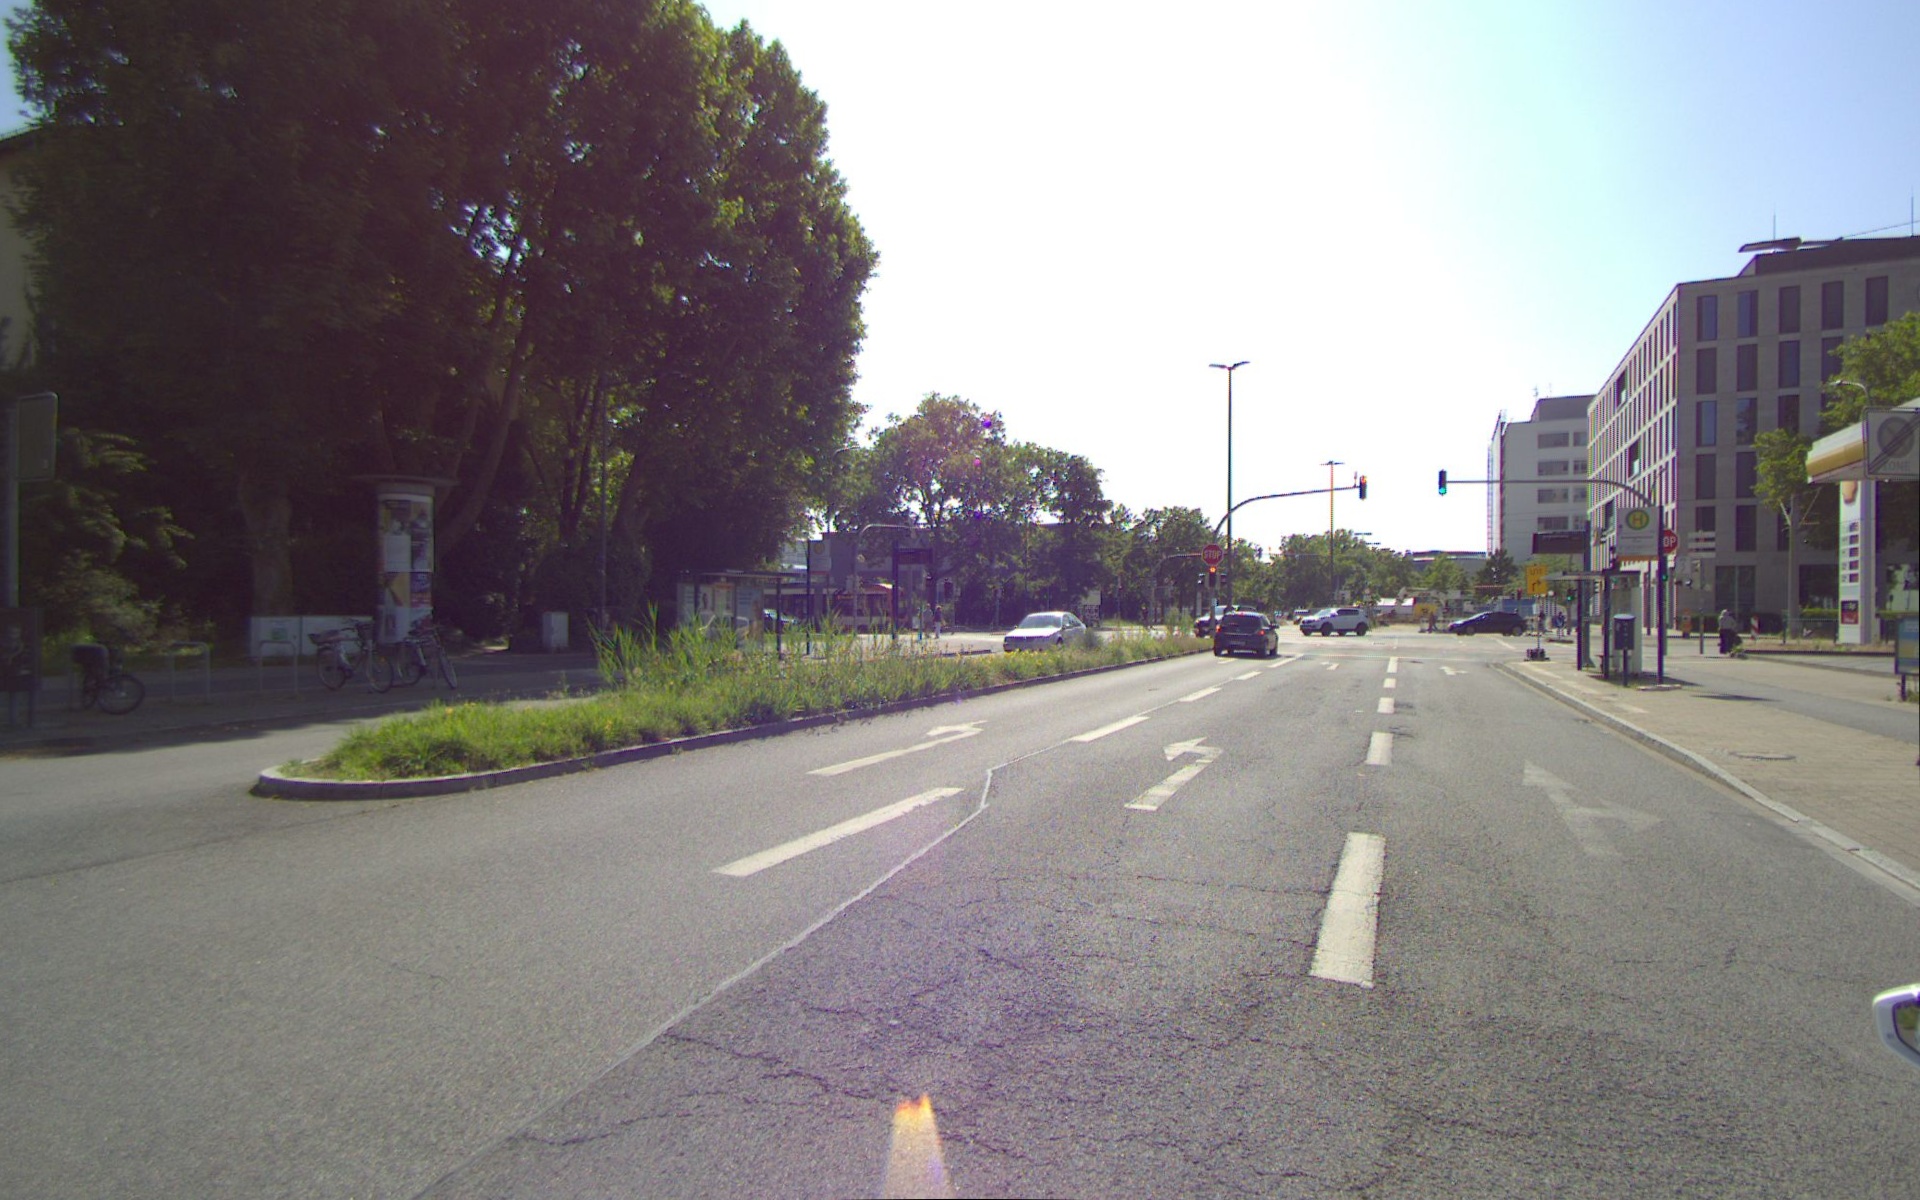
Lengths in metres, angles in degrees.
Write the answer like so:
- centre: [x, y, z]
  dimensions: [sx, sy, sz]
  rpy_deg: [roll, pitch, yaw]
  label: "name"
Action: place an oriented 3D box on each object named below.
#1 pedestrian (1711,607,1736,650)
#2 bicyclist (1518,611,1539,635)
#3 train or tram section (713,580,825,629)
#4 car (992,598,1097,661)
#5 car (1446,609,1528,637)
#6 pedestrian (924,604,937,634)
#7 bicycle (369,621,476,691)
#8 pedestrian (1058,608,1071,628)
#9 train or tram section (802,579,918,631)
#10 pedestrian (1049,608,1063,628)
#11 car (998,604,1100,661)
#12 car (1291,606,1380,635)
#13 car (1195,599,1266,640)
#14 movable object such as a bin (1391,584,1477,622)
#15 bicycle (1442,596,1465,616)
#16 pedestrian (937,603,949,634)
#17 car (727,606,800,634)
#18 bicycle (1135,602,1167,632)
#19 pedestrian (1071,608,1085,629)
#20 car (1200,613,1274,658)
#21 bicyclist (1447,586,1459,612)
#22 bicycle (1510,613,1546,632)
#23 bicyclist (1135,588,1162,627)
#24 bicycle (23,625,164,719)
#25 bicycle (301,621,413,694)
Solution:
- centre: [28.025, 1.029, 36.877]
  dimensions: [0.608, 1.564, 0.461]
  rpy_deg: [0, 0, 24]
  label: "pedestrian"
- centre: [40.474, 1.648, 71.500]
  dimensions: [1.222, 1.696, 0.523]
  rpy_deg: [1, 0, 33]
  label: "bicyclist"
- centre: [-13.745, 0.333, 72.134]
  dimensions: [7.434, 3.376, 3.118]
  rpy_deg: [0, -1, 23]
  label: "train or tram section"
- centre: [2.698, 0.836, 31.104]
  dimensions: [1.962, 1.661, 4.392]
  rpy_deg: [0, 2, 23]
  label: "car"
- centre: [31.961, 1.398, 61.037]
  dimensions: [4.040, 1.660, 2.001]
  rpy_deg: [0, -1, 15]
  label: "car"
- centre: [-1.673, 1.080, 57.175]
  dimensions: [0.647, 1.749, 0.753]
  rpy_deg: [0, 0, 7]
  label: "pedestrian"
- centre: [-9.335, 0.942, 17.437]
  dimensions: [1.816, 1.137, 0.692]
  rpy_deg: [0, 0, 26]
  label: "bicycle"
- centre: [8.457, 1.471, 81.321]
  dimensions: [0.935, 1.633, 0.648]
  rpy_deg: [1, 0, -43]
  label: "pedestrian"
- centre: [-6.895, 0.341, 69.195]
  dimensions: [7.434, 3.376, 3.118]
  rpy_deg: [0, -1, 23]
  label: "train or tram section"
- centre: [7.808, 1.470, 81.666]
  dimensions: [0.935, 1.633, 0.648]
  rpy_deg: [1, 0, -43]
  label: "pedestrian"
- centre: [2.865, 0.959, 31.303]
  dimensions: [1.860, 1.631, 4.516]
  rpy_deg: [0, -1, 23]
  label: "car"
- centre: [22.147, 1.213, 59.262]
  dimensions: [4.794, 1.658, 1.992]
  rpy_deg: [1, 0, -19]
  label: "car"
- centre: [14.078, 1.003, 52.047]
  dimensions: [1.968, 2.040, 4.853]
  rpy_deg: [0, -1, 36]
  label: "car"
- centre: [58.541, 0.330, 124.236]
  dimensions: [9.526, 4.610, 3.160]
  rpy_deg: [0, 0, 26]
  label: "movable object such as a bin"
- centre: [51.140, 0.601, 104.176]
  dimensions: [2.057, 1.988, 0.826]
  rpy_deg: [1, 0, 31]
  label: "bicycle"
- centre: [-0.958, 1.074, 57.112]
  dimensions: [0.557, 1.749, 0.734]
  rpy_deg: [0, 0, 7]
  label: "pedestrian"
- centre: [-10.288, 1.023, 52.537]
  dimensions: [3.442, 1.395, 1.637]
  rpy_deg: [0, -1, 22]
  label: "car"
- centre: [15.068, 1.341, 79.158]
  dimensions: [1.574, 2.299, 3.997]
  rpy_deg: [0, -1, 24]
  label: "bicycle"
- centre: [9.555, 1.478, 81.100]
  dimensions: [0.935, 1.633, 0.660]
  rpy_deg: [1, 0, -43]
  label: "pedestrian"
- centre: [9.378, 1.143, 33.822]
  dimensions: [1.961, 1.416, 3.999]
  rpy_deg: [0, -1, 22]
  label: "car"
- centre: [51.160, -0.113, 104.169]
  dimensions: [1.054, 2.608, 0.826]
  rpy_deg: [1, 0, 31]
  label: "bicyclist"
- centre: [40.446, 1.593, 71.510]
  dimensions: [2.198, 1.302, 0.523]
  rpy_deg: [0, 0, 33]
  label: "bicycle"
- centre: [14.744, 0.596, 78.410]
  dimensions: [1.574, 2.970, 2.352]
  rpy_deg: [0, -1, 24]
  label: "bicyclist"
- centre: [-11.065, 0.884, 12.817]
  dimensions: [1.816, 1.106, 0.692]
  rpy_deg: [0, 0, 26]
  label: "bicycle"
- centre: [-9.916, 0.916, 16.500]
  dimensions: [1.816, 1.121, 0.692]
  rpy_deg: [0, 0, 26]
  label: "bicycle"
